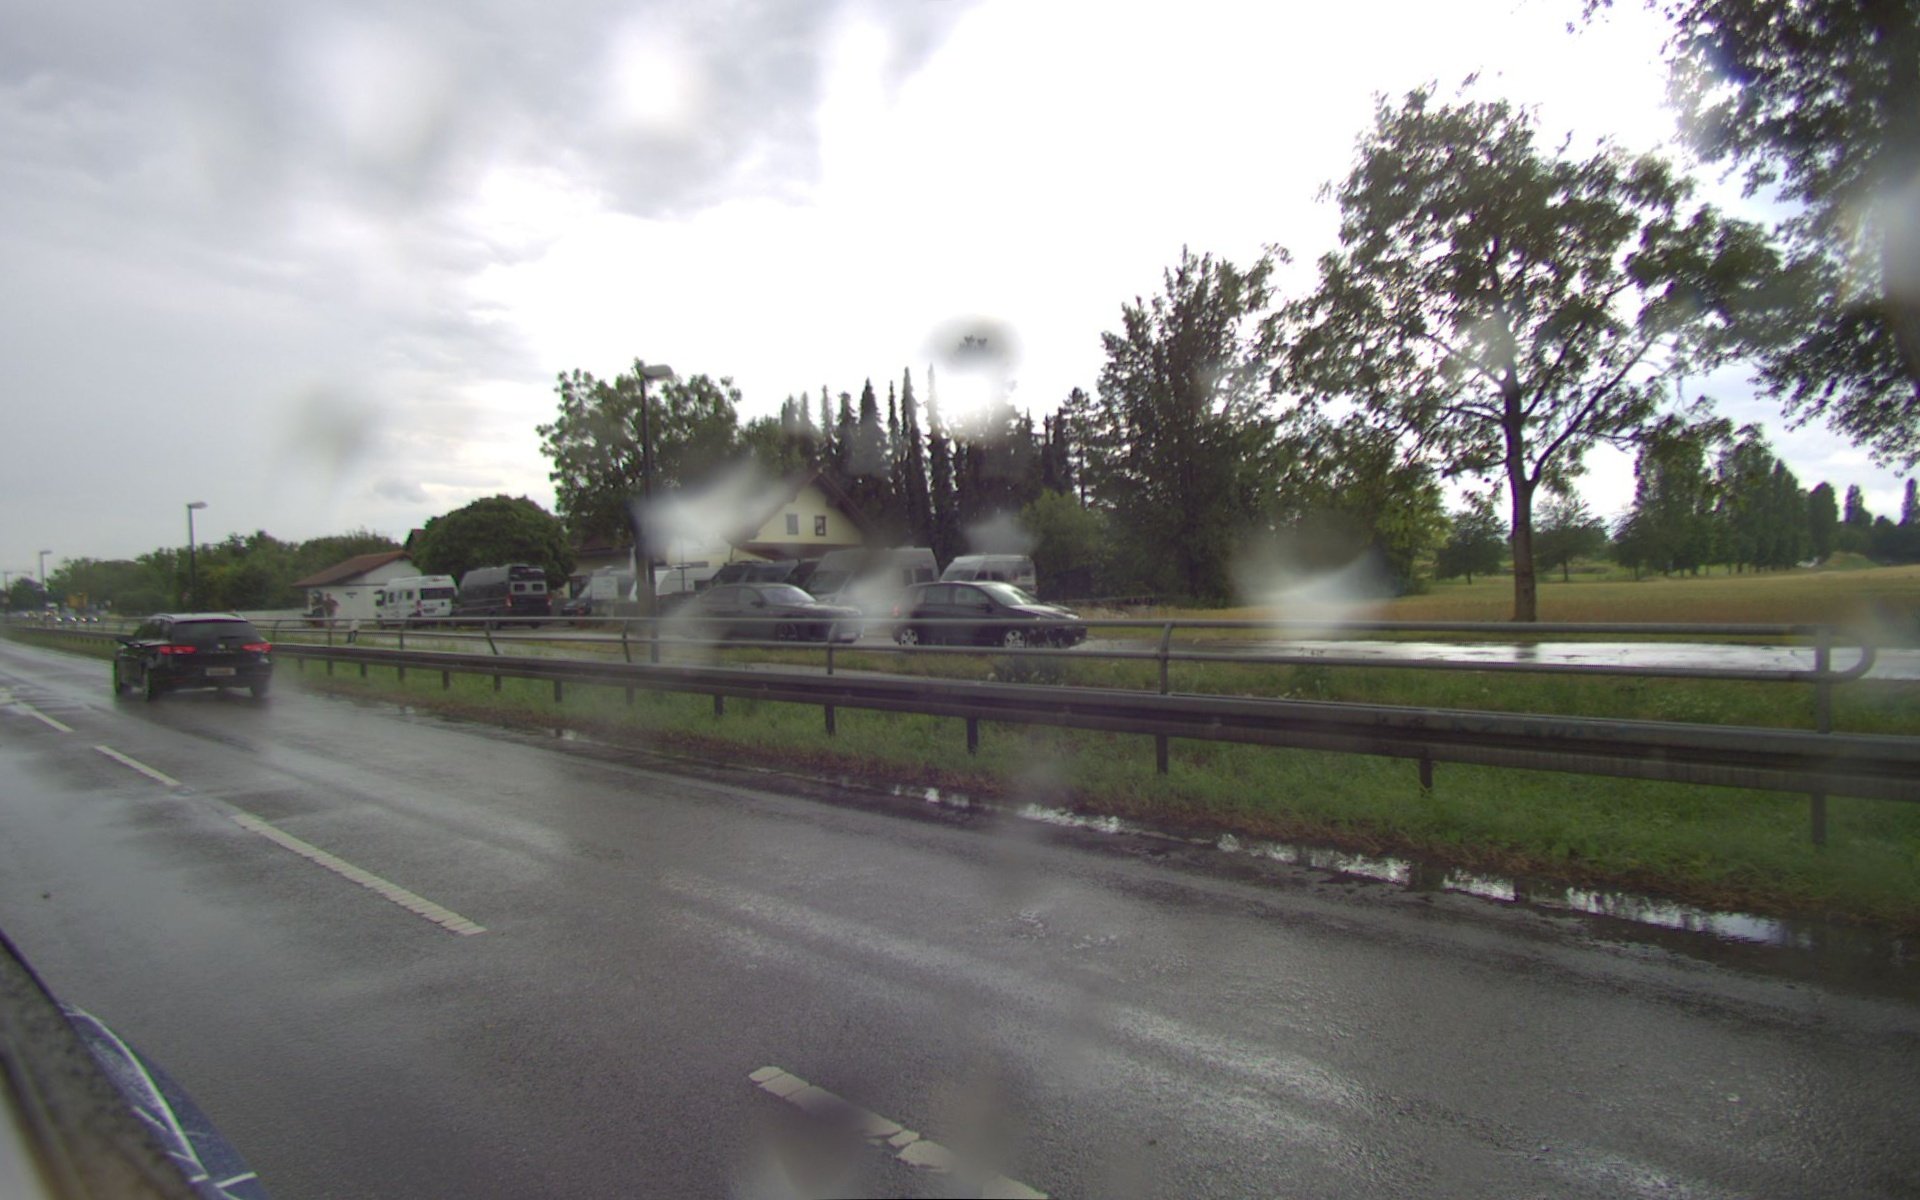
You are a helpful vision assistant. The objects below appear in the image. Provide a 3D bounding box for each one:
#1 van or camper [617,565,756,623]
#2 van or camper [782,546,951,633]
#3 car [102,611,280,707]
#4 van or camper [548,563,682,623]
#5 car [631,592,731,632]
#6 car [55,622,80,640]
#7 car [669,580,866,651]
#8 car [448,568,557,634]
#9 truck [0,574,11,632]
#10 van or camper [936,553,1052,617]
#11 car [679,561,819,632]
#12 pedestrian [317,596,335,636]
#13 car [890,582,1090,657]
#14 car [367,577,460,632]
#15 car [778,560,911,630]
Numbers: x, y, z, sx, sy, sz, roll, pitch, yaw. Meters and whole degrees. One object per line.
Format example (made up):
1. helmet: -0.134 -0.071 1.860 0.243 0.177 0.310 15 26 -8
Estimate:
1. van or camper: -13.298 -0.355 49.575 2.560 2.611 6.161 -1 1 40
2. van or camper: -3.021 -0.410 34.108 2.080 2.697 5.816 -1 1 40
3. car: -13.459 0.956 17.633 4.109 1.462 1.696 -1 -1 41
4. van or camper: -17.359 -0.406 51.232 2.432 2.822 5.992 -1 1 40
5. car: -11.808 0.487 42.947 1.539 1.507 3.844 -1 1 41
6. car: -106.229 3.678 120.447 3.998 2.029 1.661 -1 0 41
7. car: -4.595 0.381 23.686 5.113 1.502 1.501 -1 -1 37
8. car: -20.741 0.056 45.761 5.571 2.783 2.358 -1 1 42
9. truck: -87.397 0.354 90.161 7.779 5.071 3.215 -1 1 41
10. van or camper: 1.568 -0.684 44.290 1.998 2.609 5.749 -1 1 38
11. car: -8.045 -0.184 39.029 1.998 2.520 5.132 -1 1 39
12. pedestrian: -28.070 0.718 44.807 0.509 1.723 0.651 -2 1 -40
13. car: 0.519 0.379 19.818 3.892 1.341 1.271 -1 -1 38
14. car: -27.977 0.261 51.685 6.017 2.600 2.214 -1 1 42
15. car: -4.311 -0.236 38.563 1.998 2.477 5.043 -1 1 39
